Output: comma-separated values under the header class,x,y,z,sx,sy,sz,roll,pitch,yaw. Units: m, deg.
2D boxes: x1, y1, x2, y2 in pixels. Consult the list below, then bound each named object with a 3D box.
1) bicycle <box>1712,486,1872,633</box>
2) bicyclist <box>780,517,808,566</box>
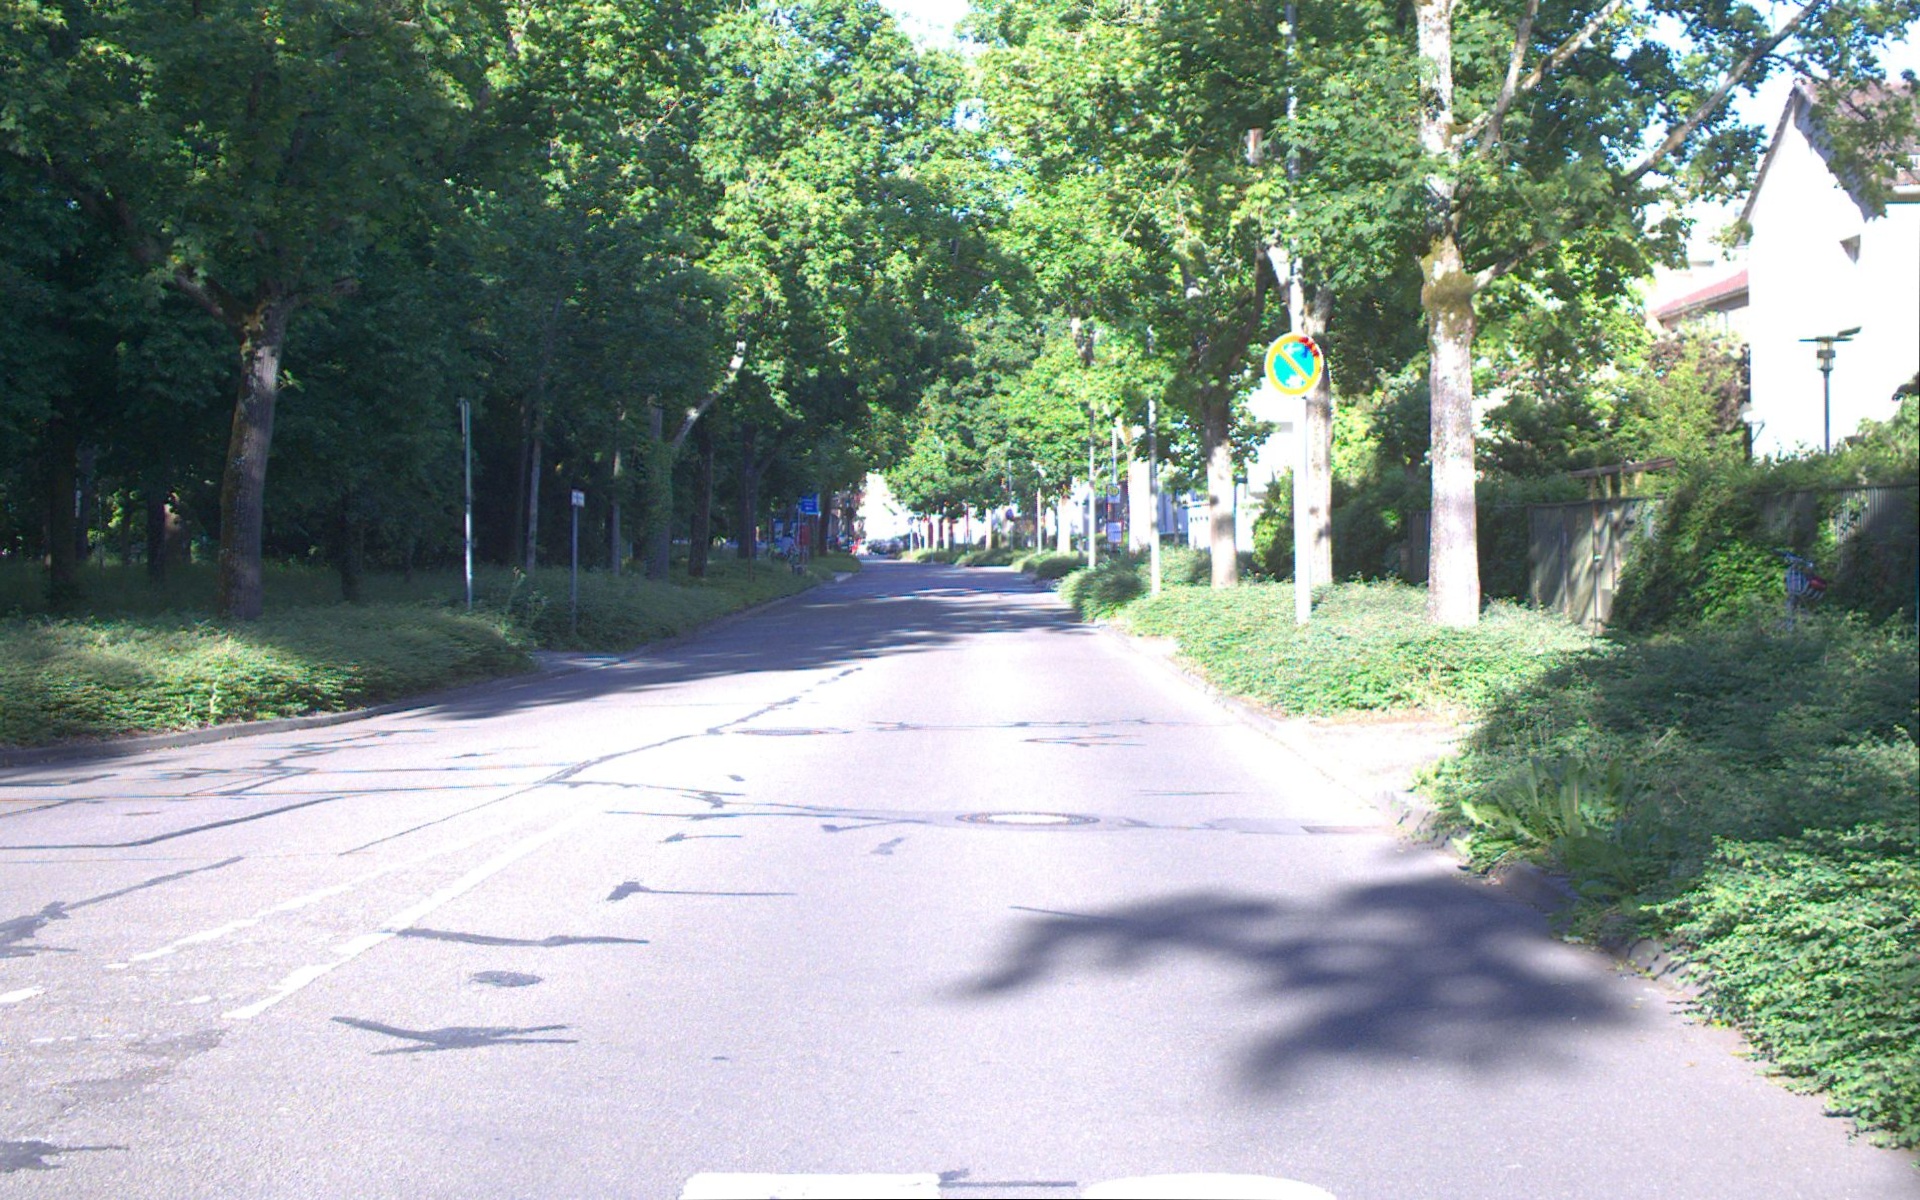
class,x,y,z,sx,sy,sz,roll,pitch,yaw
bicycle,7.316,-0.371,30.142,0.884,1.196,2.323,-2,1,25
bicyclist,-5.718,-2.023,118.375,0.867,1.635,1.115,1,2,0
